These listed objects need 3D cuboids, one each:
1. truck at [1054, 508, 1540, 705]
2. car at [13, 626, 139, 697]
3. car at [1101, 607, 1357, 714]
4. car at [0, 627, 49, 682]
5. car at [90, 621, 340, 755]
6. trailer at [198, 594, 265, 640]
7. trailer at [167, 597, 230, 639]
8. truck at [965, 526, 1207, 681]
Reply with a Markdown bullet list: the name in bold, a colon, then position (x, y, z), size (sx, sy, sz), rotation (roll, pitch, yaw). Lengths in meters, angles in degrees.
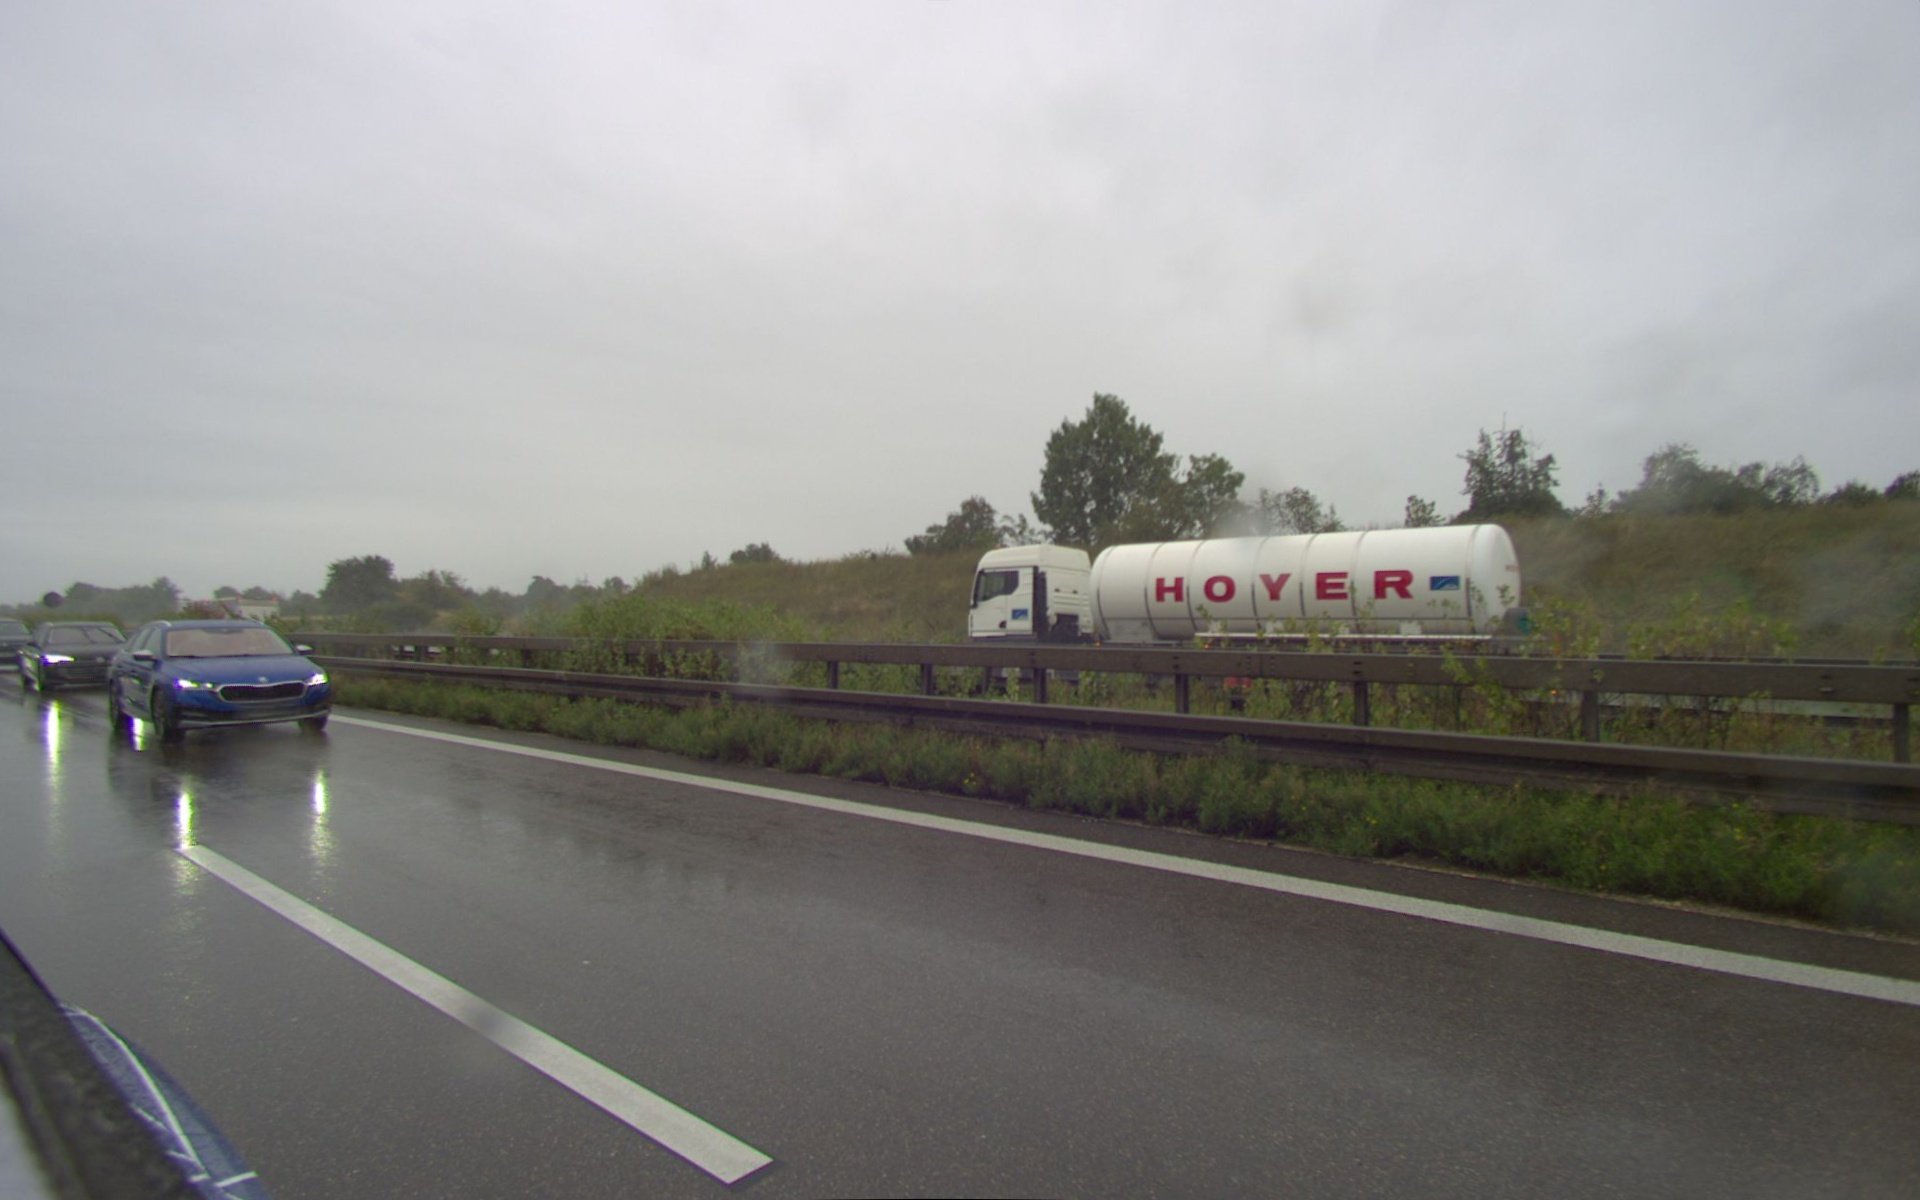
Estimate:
- **truck**: position (6.524, 0.127, 21.077), size (9.344, 3.323, 2.528), rotation (0, -2, 41)
- **car**: position (-20.164, 1.348, 23.030), size (4.368, 1.447, 1.592), rotation (-2, -1, 41)
- **car**: position (4.243, 0.920, 16.258), size (3.630, 1.519, 1.657), rotation (-2, -2, 41)
- **car**: position (-30.359, 1.697, 31.935), size (4.266, 1.644, 1.864), rotation (-2, -1, 41)
- **car**: position (-10.079, 1.054, 13.558), size (4.509, 1.487, 1.768), rotation (-2, -1, 41)
- **trailer**: position (-52.776, 1.263, 73.223), size (8.867, 3.105, 1.973), rotation (-2, -1, 41)
- **trailer**: position (-59.739, 1.453, 79.289), size (9.549, 3.105, 1.973), rotation (-2, -1, 41)
- **truck**: position (2.935, 0.130, 24.182), size (5.195, 3.305, 2.515), rotation (0, -2, 40)
